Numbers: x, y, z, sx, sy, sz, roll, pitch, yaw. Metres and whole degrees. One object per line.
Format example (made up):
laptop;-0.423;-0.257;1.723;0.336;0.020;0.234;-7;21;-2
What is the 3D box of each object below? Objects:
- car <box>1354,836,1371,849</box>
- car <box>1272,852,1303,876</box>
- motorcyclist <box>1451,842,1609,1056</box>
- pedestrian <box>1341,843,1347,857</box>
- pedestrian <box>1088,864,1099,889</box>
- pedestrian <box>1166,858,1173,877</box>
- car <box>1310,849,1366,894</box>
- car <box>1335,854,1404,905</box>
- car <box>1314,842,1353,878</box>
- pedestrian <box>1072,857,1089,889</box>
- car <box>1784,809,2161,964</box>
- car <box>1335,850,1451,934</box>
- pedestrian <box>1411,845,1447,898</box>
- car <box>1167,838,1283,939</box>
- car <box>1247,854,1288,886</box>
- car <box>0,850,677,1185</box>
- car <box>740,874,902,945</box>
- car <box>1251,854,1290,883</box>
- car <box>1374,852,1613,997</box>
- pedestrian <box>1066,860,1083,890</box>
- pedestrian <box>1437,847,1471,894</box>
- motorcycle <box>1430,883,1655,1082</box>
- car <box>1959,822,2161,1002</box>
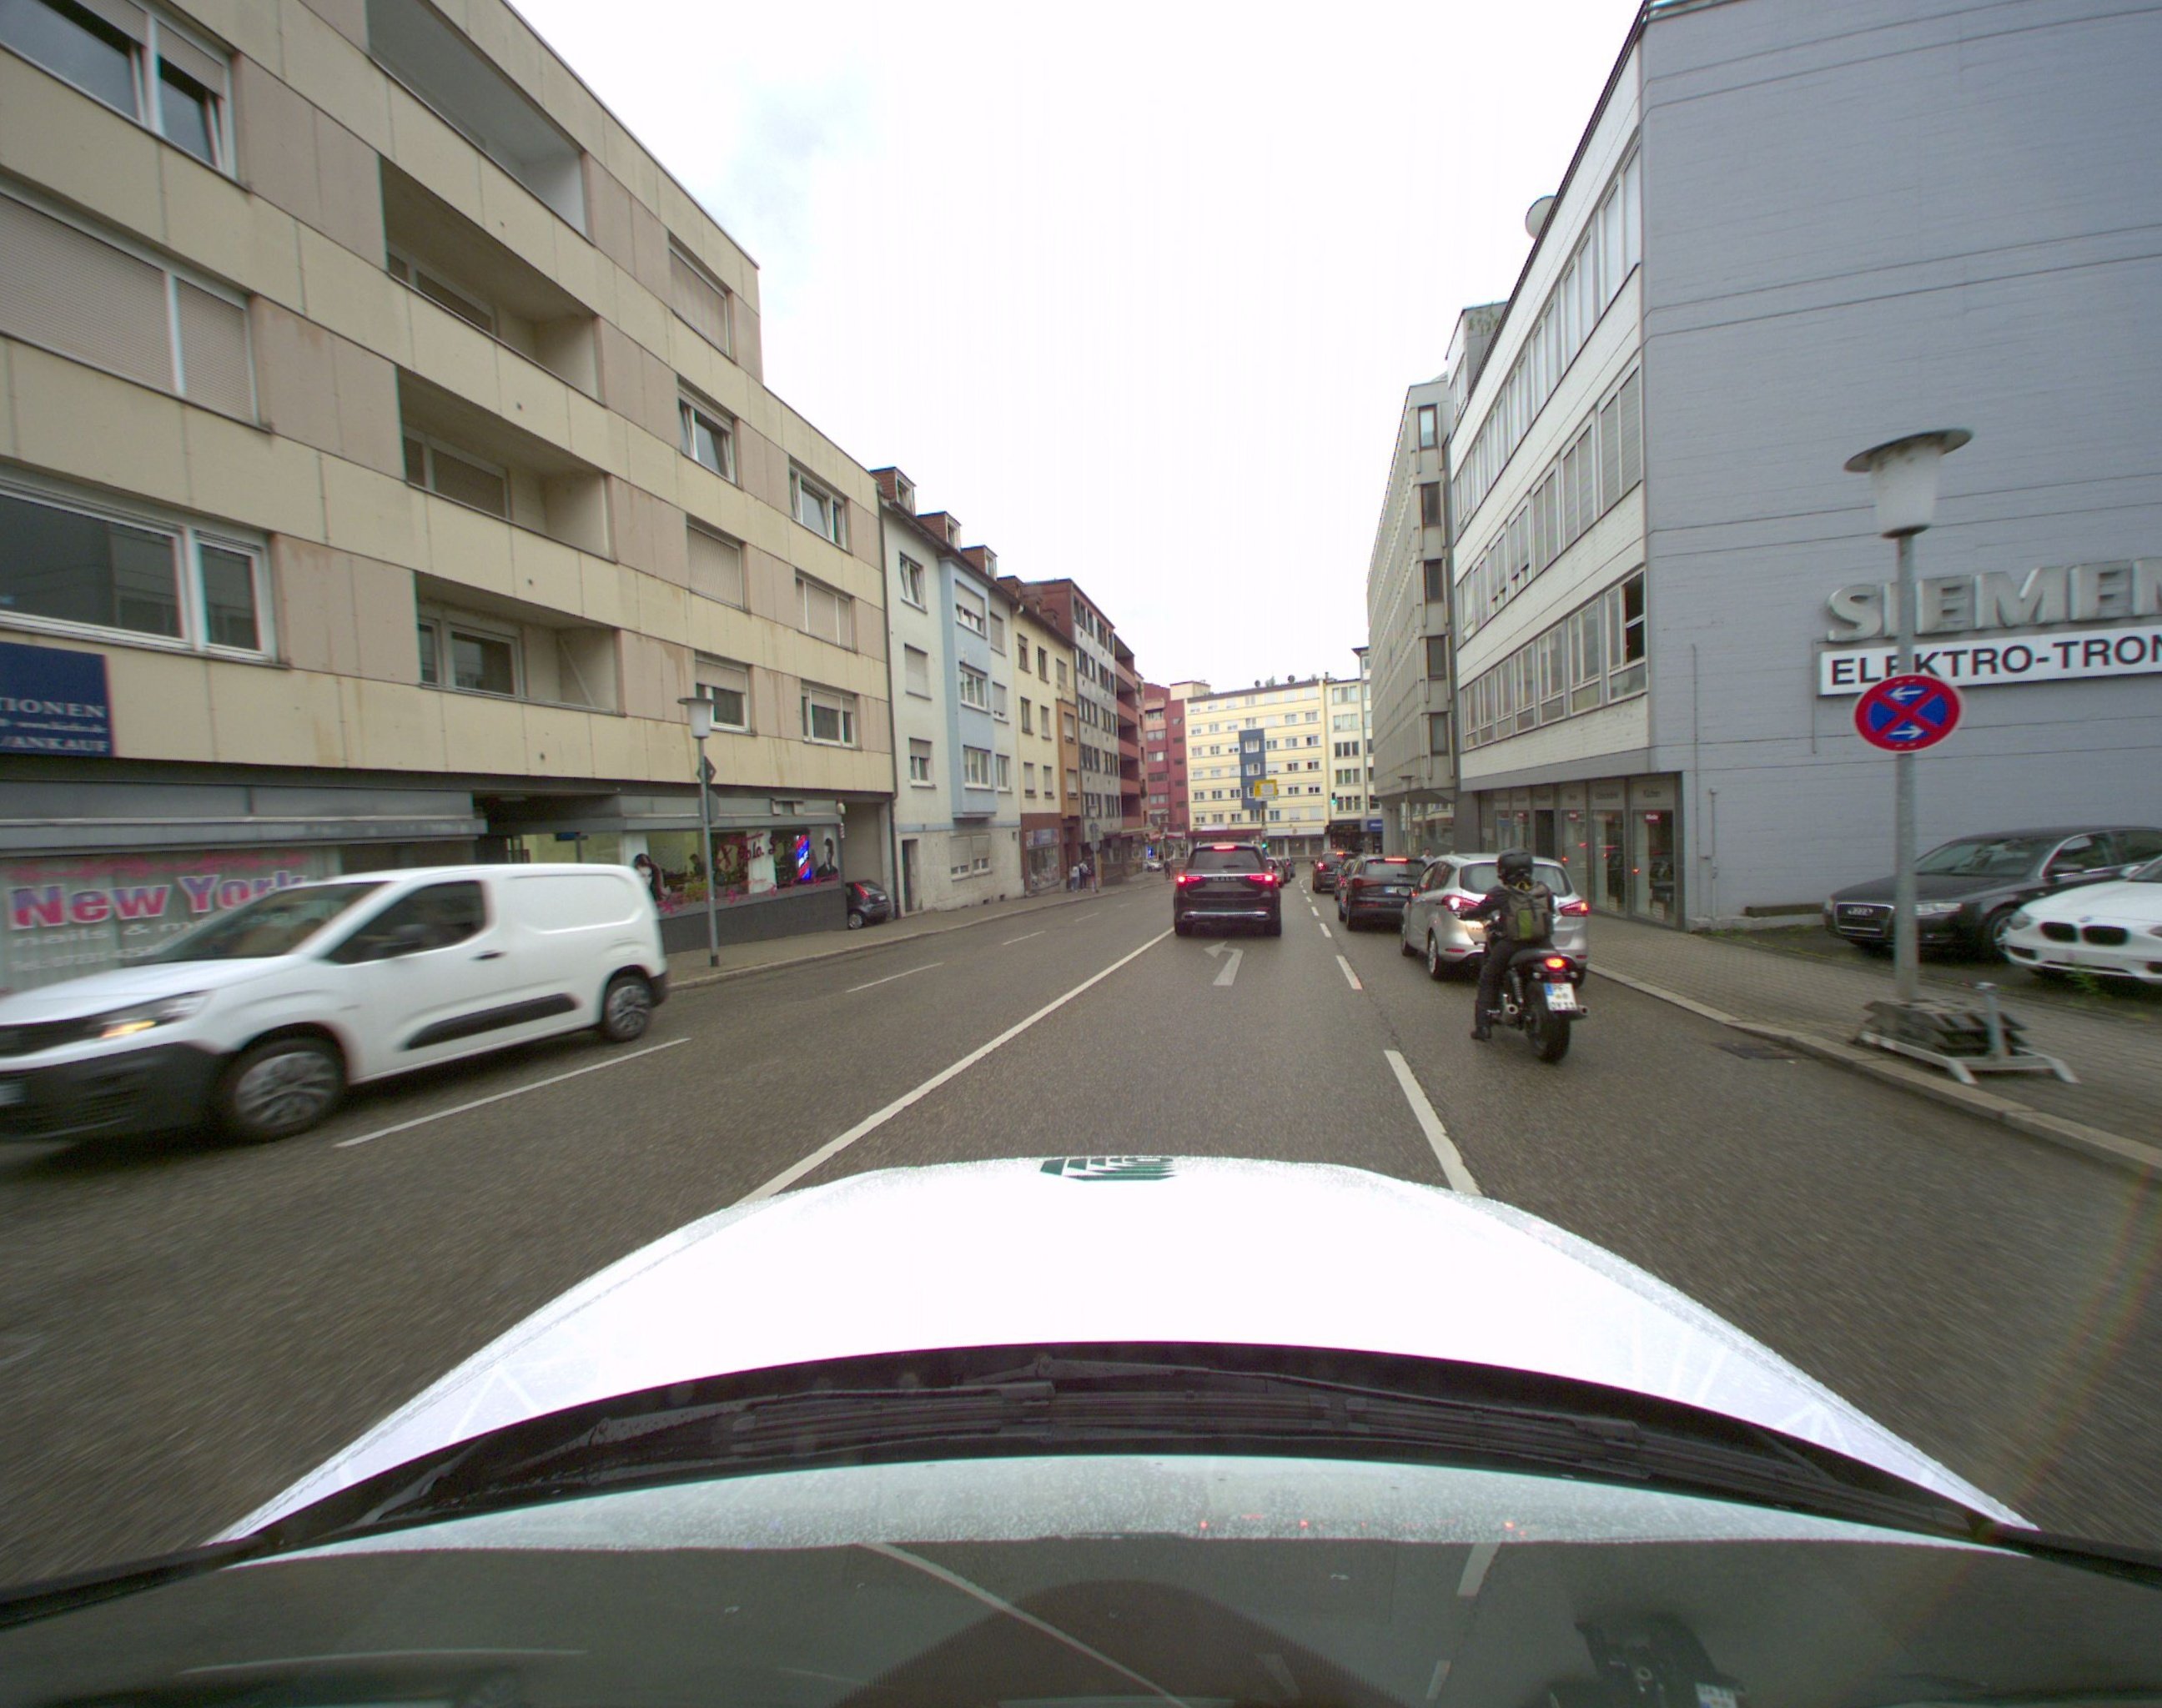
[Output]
car;38.286;-1.501;110.688;1.781;1.670;4.022;-3;-1;23
car;13.575;0.683;53.515;1.911;1.515;4.680;0;-1;15
motorcyclist;3.598;0.711;6.621;0.840;1.589;0.965;1;0;9
pedestrian;32.033;-0.468;99.139;0.559;1.688;0.760;-2;5;21
pedestrian;0.658;1.178;43.688;0.530;1.323;0.725;0;0;6
pedestrian;7.871;1.208;72.221;0.550;1.697;0.626;-2;-1;11
car;10.561;0.654;33.713;1.884;1.695;4.522;1;0;14
car;9.265;0.752;26.414;1.677;1.477;4.014;1;0;13
car;16.415;0.376;52.753;2.224;2.228;5.454;-1;0;19
pedestrian;-0.031;1.028;43.756;0.823;1.689;0.725;0;0;6
car;11.579;0.343;10.205;3.978;1.450;1.797;-5;0;-3
car;6.580;0.726;17.581;1.810;1.560;4.217;1;0;14
pedestrian;11.778;0.578;27.615;0.778;1.705;1.124;-5;-2;11
car;3.112;0.619;16.931;2.024;1.799;4.679;-1;0;13
car;9.328;0.768;40.619;1.860;1.495;4.416;-1;0;13
car;-5.676;0.930;6.675;1.848;1.804;4.281;-3;-1;13
car;-7.509;1.595;23.702;3.966;1.350;1.682;-9;0;7
car;10.834;0.802;46.408;1.979;1.486;4.253;-3;-1;15
car;5.309;0.765;11.143;1.814;1.541;4.265;1;0;11
pedestrian;-0.322;1.093;42.516;0.823;1.561;0.725;0;0;6
pedestrian;12.955;0.561;28.316;0.760;1.551;0.893;-5;-2;11
motorcycle;3.608;0.900;6.667;0.839;1.226;2.379;1;0;10
car;11.152;0.434;7.646;3.976;1.530;1.762;-2;0;-2
